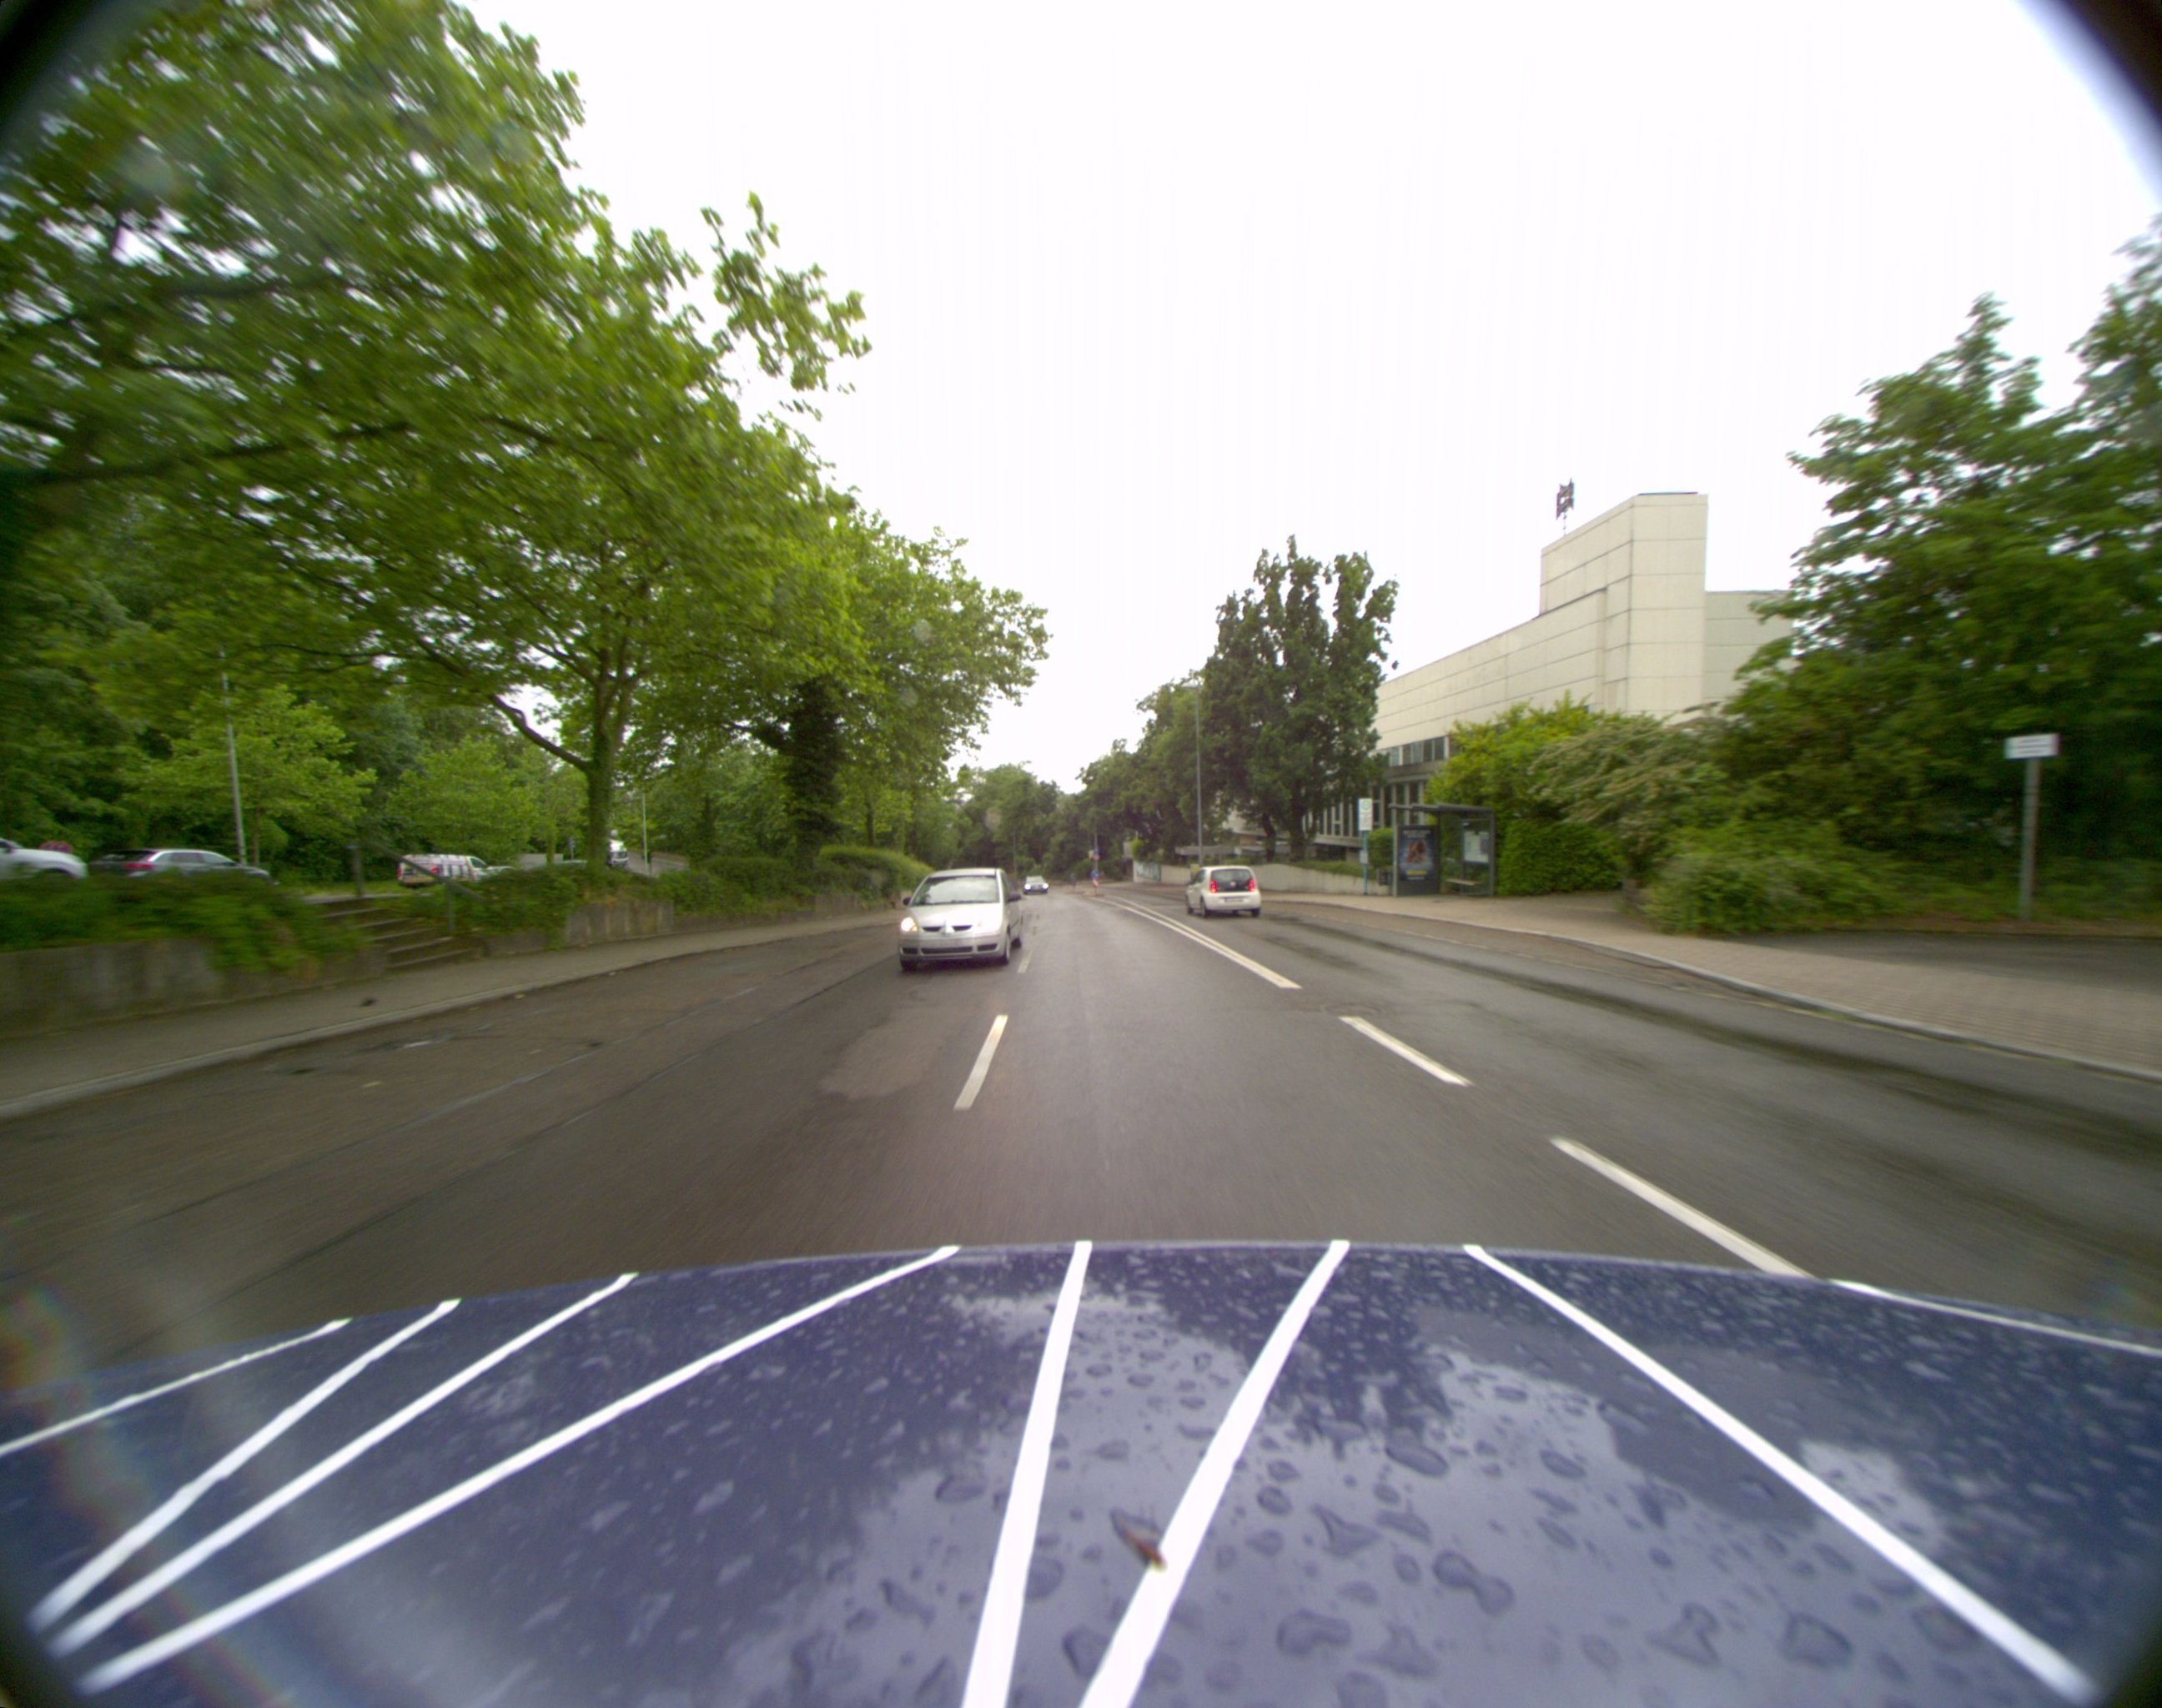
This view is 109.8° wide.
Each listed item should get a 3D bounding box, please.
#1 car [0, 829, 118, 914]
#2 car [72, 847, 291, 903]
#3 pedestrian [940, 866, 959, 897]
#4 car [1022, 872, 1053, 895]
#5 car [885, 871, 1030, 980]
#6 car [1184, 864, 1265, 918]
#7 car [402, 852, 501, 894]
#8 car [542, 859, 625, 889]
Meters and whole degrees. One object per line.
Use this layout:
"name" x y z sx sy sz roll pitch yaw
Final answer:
"car" -19.924 0.321 12.910 1.900 1.444 4.171 -4 -1 -4
"car" -27.350 0.648 23.369 1.900 1.444 4.171 -4 -1 -4
"pedestrian" -8.192 1.706 47.501 1.054 1.882 1.132 -2 0 -8
"car" -3.490 2.331 61.623 2.035 1.690 4.002 -3 -1 3
"car" -1.944 1.086 13.102 1.640 1.496 4.001 -3 -1 2
"car" 4.198 1.035 22.730 1.690 1.445 3.398 -1 0 -1
"car" -33.003 0.984 40.008 1.707 2.001 4.354 -3 -1 -3
"car" -26.852 1.091 41.201 1.900 1.444 4.171 -4 -1 -4
